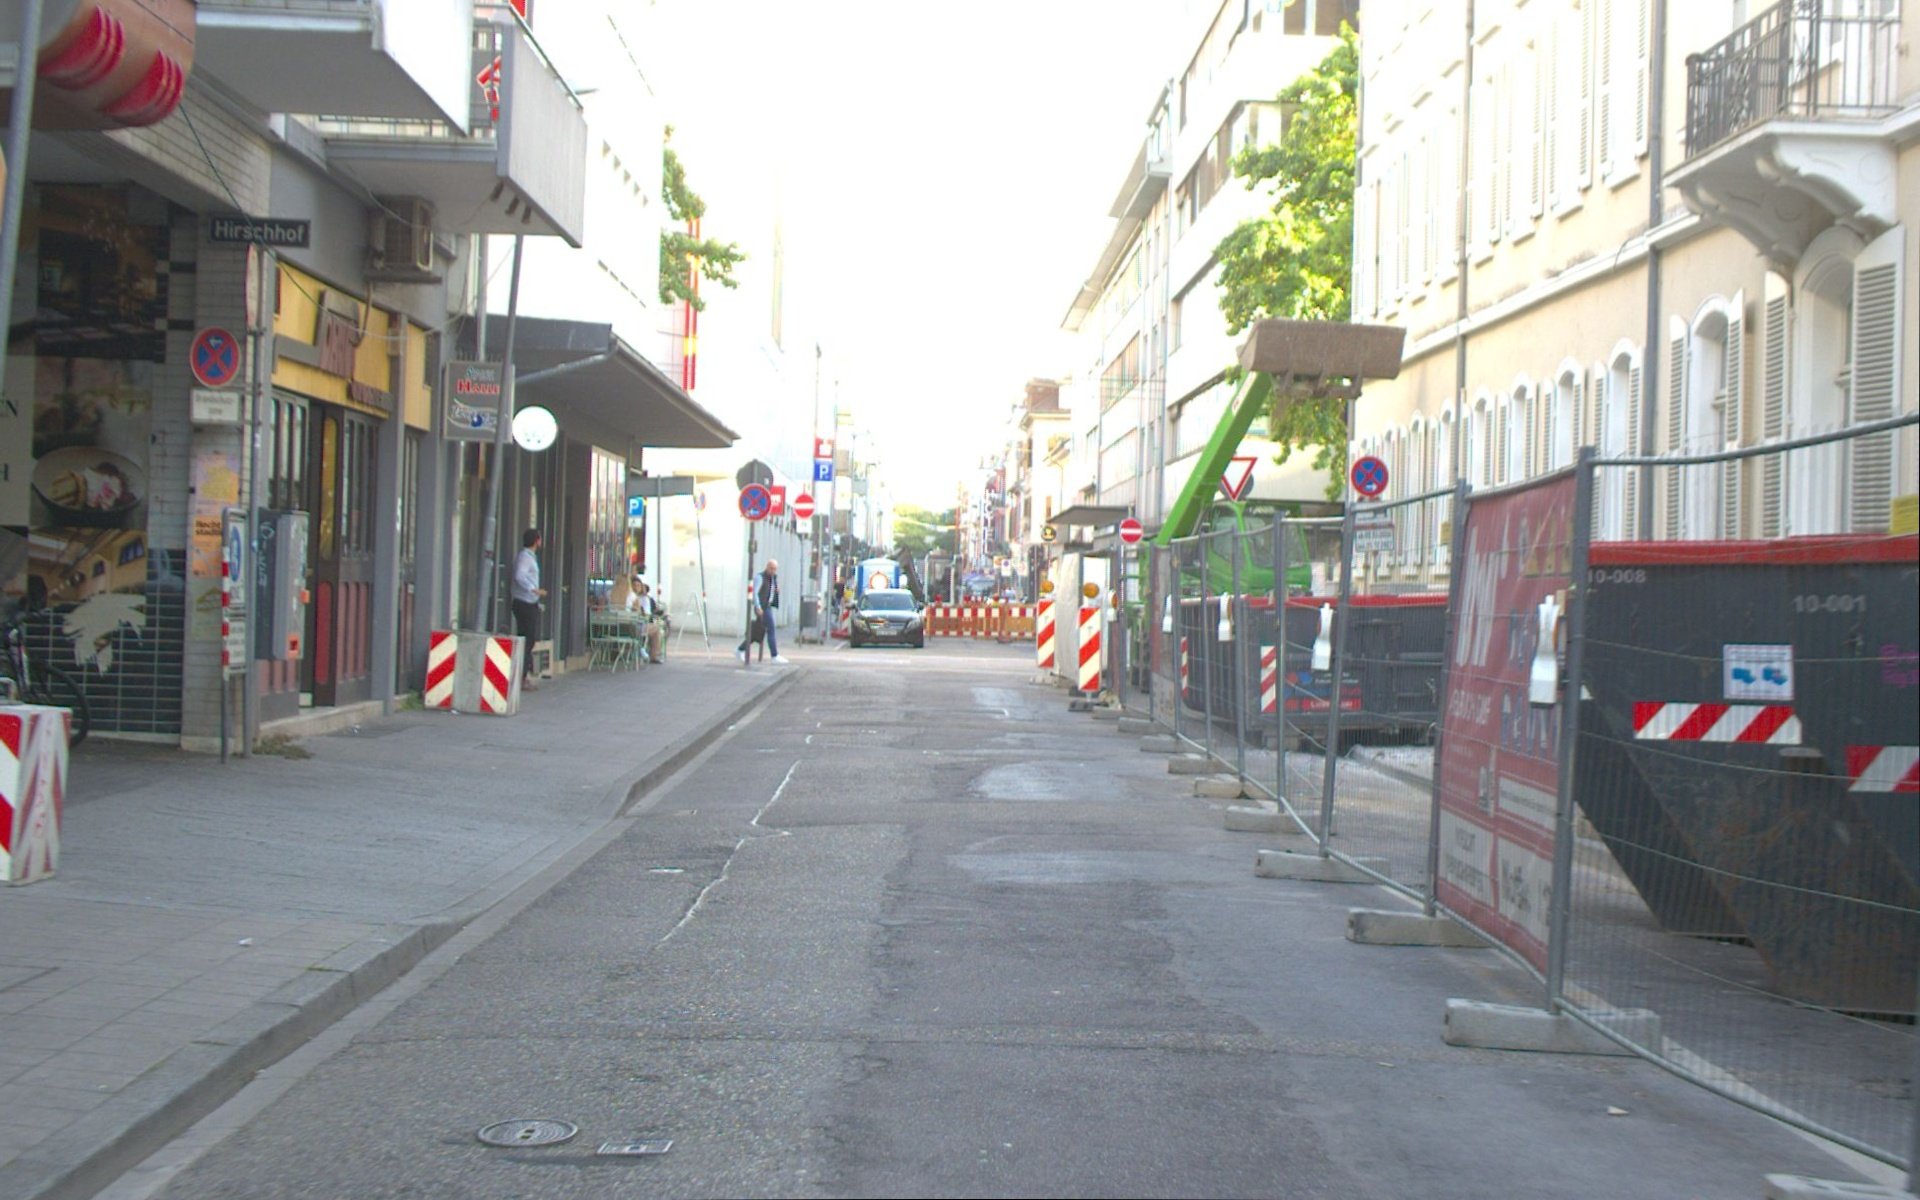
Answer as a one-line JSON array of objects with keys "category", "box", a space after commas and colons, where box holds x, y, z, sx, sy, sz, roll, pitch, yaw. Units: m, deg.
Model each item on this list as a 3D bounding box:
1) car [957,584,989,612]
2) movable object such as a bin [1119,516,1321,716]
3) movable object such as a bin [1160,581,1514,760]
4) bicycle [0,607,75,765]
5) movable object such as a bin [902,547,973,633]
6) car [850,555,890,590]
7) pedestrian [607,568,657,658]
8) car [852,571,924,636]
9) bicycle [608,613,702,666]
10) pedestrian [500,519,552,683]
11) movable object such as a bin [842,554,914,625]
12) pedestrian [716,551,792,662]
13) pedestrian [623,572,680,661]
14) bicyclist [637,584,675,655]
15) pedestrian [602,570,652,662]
[{"category": "car", "box": [0.862, -0.110, 224.784, 1.993, 1.770, 4.000, 1, 0, -1]}, {"category": "movable object such as a bin", "box": [3.830, 0.226, 51.488, 2.605, 2.829, 4.450, 1, 0, 0]}, {"category": "movable object such as a bin", "box": [3.887, 0.681, 37.235, 2.735, 1.633, 7.553, 2, 0, -2]}, {"category": "bicycle", "box": [-6.205, 0.552, 22.740, 0.377, 0.957, 1.502, 2, 1, -4]}, {"category": "movable object such as a bin", "box": [-0.740, -0.304, 110.724, 2.156, 2.655, 4.573, 2, 0, -1]}, {"category": "car", "box": [-4.690, -1.444, 180.306, 1.993, 1.770, 4.000, 1, 0, -1]}, {"category": "pedestrian", "box": [-4.785, 0.185, 50.173, 0.573, 1.271, 0.713, 4, 0, 0]}, {"category": "car", "box": [-1.800, 0.080, 85.320, 1.629, 1.545, 3.143, 1, 0, -4]}, {"category": "bicycle", "box": [-6.293, 0.813, 70.983, 1.890, 1.034, 0.409, 2, 0, -3]}, {"category": "pedestrian", "box": [-4.890, 0.008, 38.764, 0.530, 1.828, 0.563, 2, 0, -7]}, {"category": "movable object such as a bin", "box": [-2.385, -0.311, 100.695, 1.993, 2.007, 4.000, 1, 0, 0]}, {"category": "pedestrian", "box": [-3.476, 0.108, 57.967, 1.071, 1.829, 0.698, 1, 0, -21]}, {"category": "pedestrian", "box": [-4.598, 0.245, 51.285, 0.702, 1.271, 0.713, 4, 0, 0]}, {"category": "bicyclist", "box": [-6.278, 0.408, 70.969, 0.724, 1.437, 0.506, 2, 0, -3]}, {"category": "pedestrian", "box": [-4.762, 0.231, 49.170, 0.573, 1.271, 0.713, 4, 0, 0]}]
